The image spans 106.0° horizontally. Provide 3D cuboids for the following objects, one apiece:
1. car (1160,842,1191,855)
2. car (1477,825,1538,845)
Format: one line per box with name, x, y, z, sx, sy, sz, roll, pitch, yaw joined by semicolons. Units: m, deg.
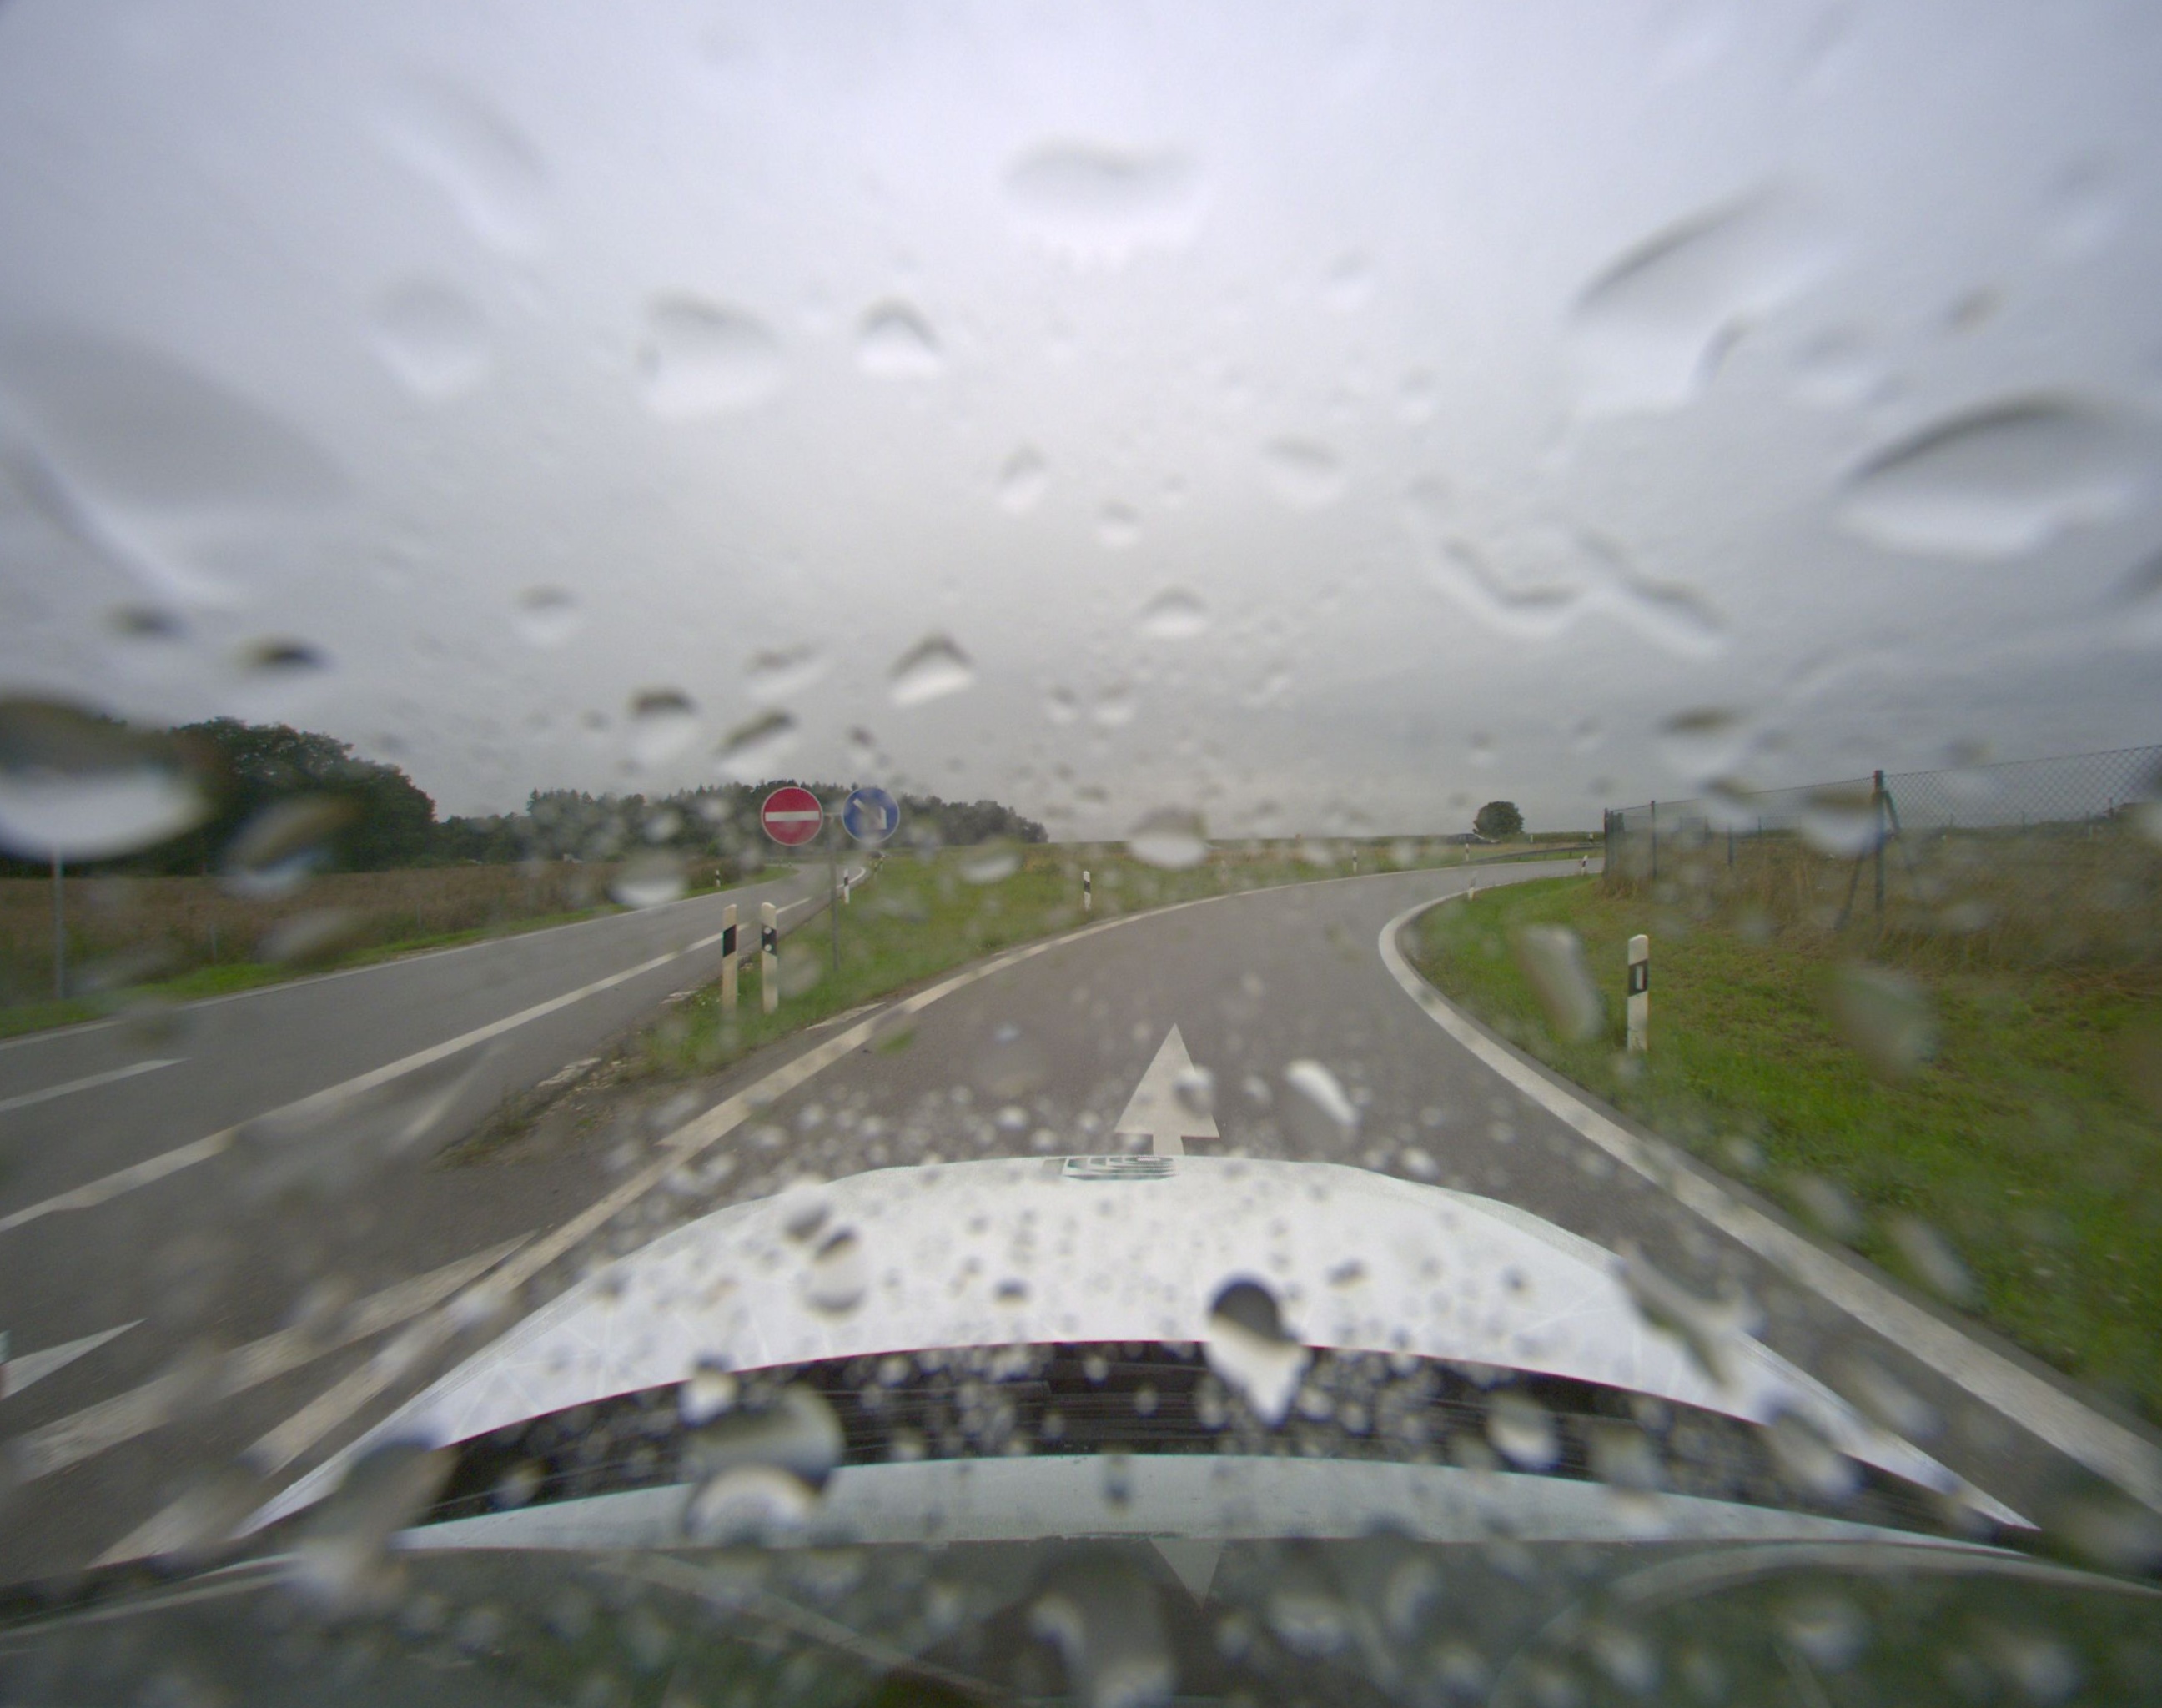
car;13.486;-0.787;115.991;3.948;1.736;1.747;-2;1;35
car;36.723;-1.640;70.160;4.293;1.636;2.073;-1;1;39
